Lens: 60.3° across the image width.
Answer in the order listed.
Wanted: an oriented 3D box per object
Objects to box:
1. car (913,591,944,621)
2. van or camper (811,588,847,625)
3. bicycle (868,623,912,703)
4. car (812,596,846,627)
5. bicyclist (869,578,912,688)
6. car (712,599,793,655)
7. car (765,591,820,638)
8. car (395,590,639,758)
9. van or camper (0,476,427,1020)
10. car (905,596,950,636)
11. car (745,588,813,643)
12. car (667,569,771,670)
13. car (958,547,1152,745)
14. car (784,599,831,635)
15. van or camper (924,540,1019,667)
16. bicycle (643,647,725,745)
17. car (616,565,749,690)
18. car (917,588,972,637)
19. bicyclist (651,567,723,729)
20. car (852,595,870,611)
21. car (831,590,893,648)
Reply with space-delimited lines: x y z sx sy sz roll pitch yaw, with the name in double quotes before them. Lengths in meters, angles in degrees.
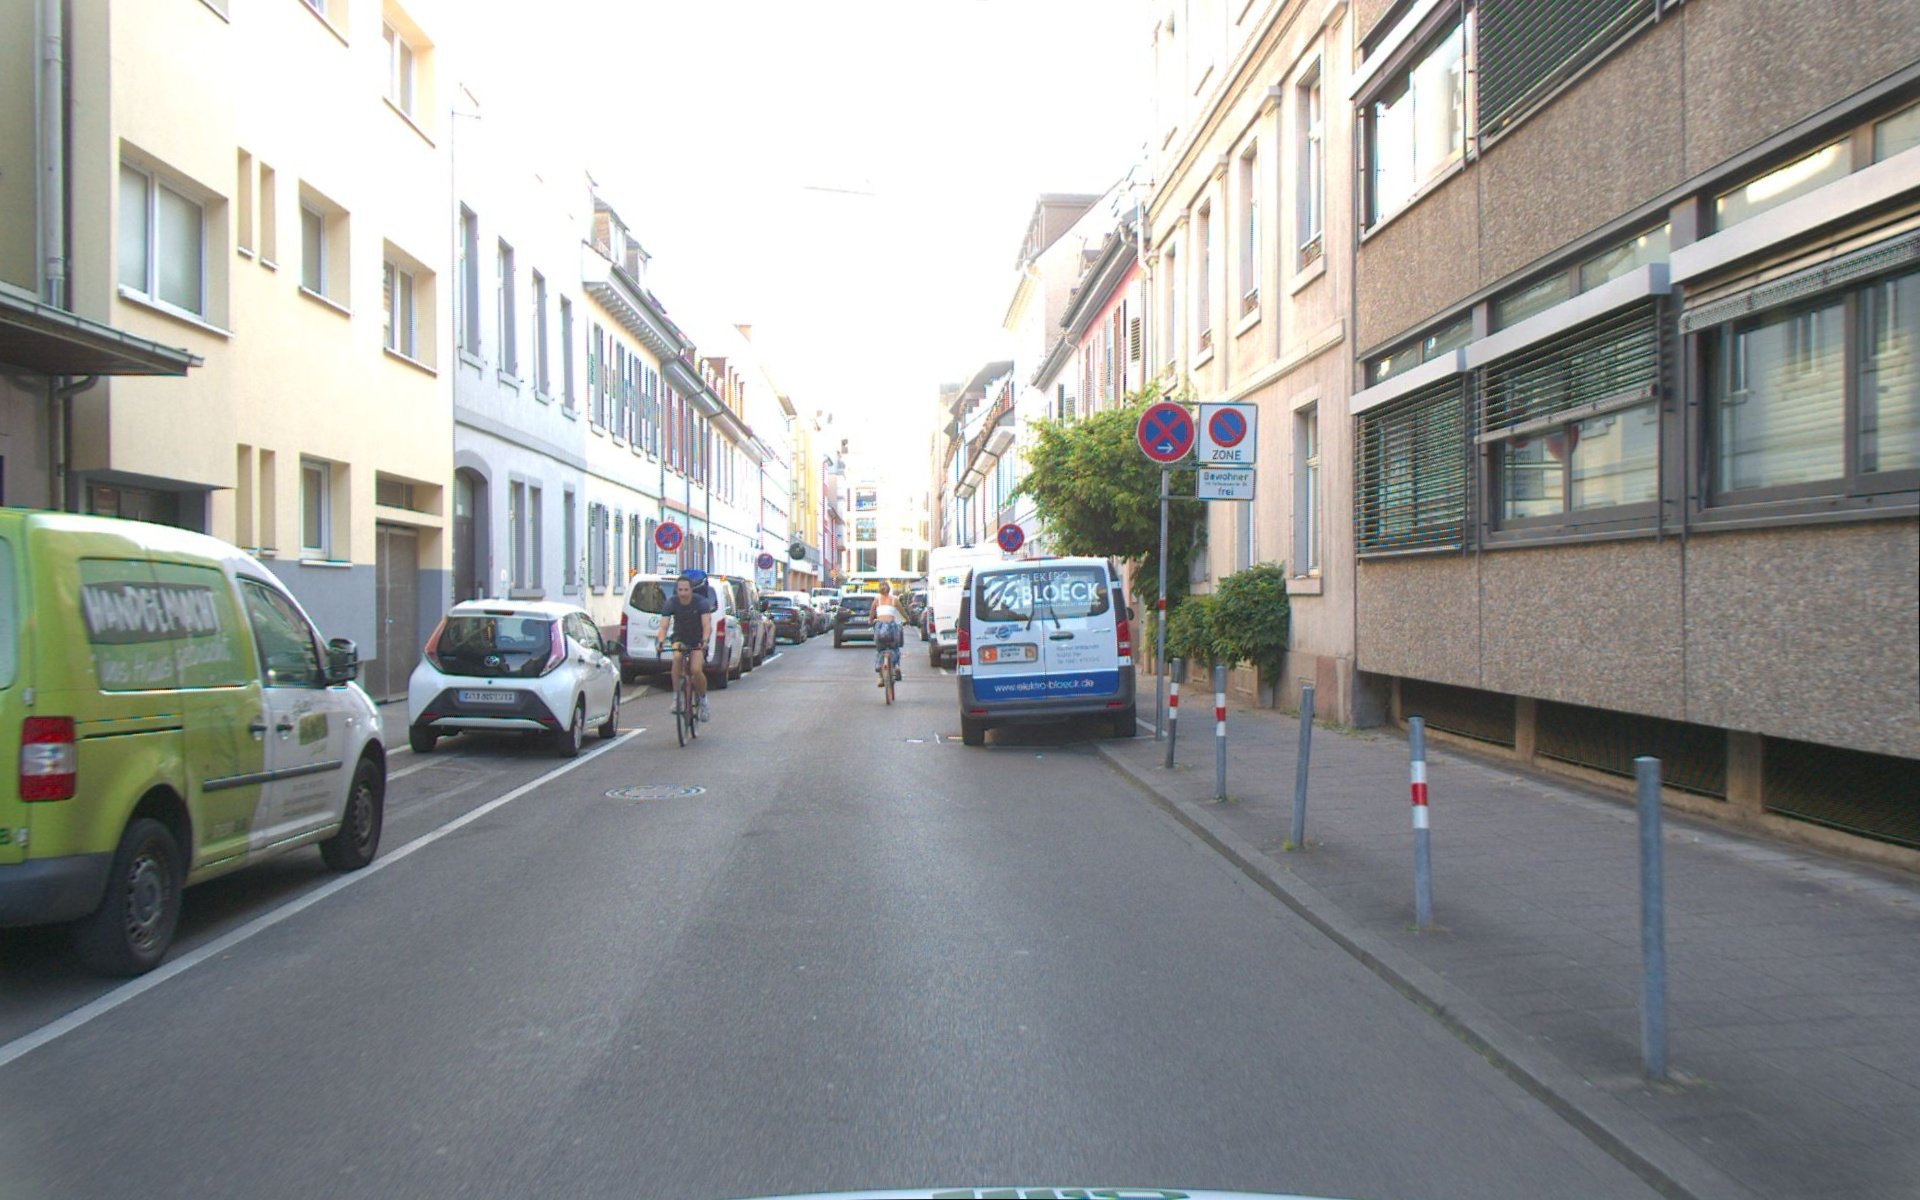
"car" -1.698 0.319 88.736 1.620 1.588 3.604 1 0 -2
"van or camper" -7.430 0.349 94.000 1.807 2.048 4.676 1 0 -2
"bicycle" -1.022 0.909 24.363 0.601 1.101 1.809 0 0 -1
"car" -6.988 0.581 88.169 1.620 1.588 3.604 1 0 -2
"bicyclist" -1.024 0.482 24.364 0.608 1.602 0.683 0 0 -1
"car" -5.459 0.684 43.975 1.729 1.426 4.261 0 0 -2
"car" -6.578 0.558 65.388 1.958 1.737 4.532 1 0 -4
"car" -4.447 0.693 17.097 1.629 1.474 3.519 3 0 -3
"van or camper" -4.022 0.516 7.796 1.736 1.880 4.177 -1 0 -1
"car" -1.531 0.703 76.574 1.880 1.768 4.150 1 0 -3
"car" -5.867 0.495 54.001 1.766 1.706 4.489 0 0 -1
"car" -5.199 0.380 36.191 1.825 2.049 4.810 0 0 -4
"car" 0.939 0.444 19.006 1.896 1.931 5.276 -1 0 0
"car" -6.555 0.701 71.583 1.880 1.459 4.290 1 0 -4
"van or camper" 0.166 0.060 38.915 2.008 2.683 7.060 0 0 -1
"bicycle" -2.920 0.996 17.619 0.621 0.938 1.778 0 0 -2
"car" -4.922 0.442 29.993 1.825 2.049 5.102 0 0 -4
"car" -0.553 0.424 59.073 1.783 1.556 5.070 -4 0 -1
"bicyclist" -2.902 0.496 17.638 0.611 1.668 1.081 0 0 -2
"car" -9.754 0.273 162.759 1.620 1.588 3.604 1 0 -2
"car" -2.935 0.545 50.047 1.783 1.646 3.998 1 0 -3
